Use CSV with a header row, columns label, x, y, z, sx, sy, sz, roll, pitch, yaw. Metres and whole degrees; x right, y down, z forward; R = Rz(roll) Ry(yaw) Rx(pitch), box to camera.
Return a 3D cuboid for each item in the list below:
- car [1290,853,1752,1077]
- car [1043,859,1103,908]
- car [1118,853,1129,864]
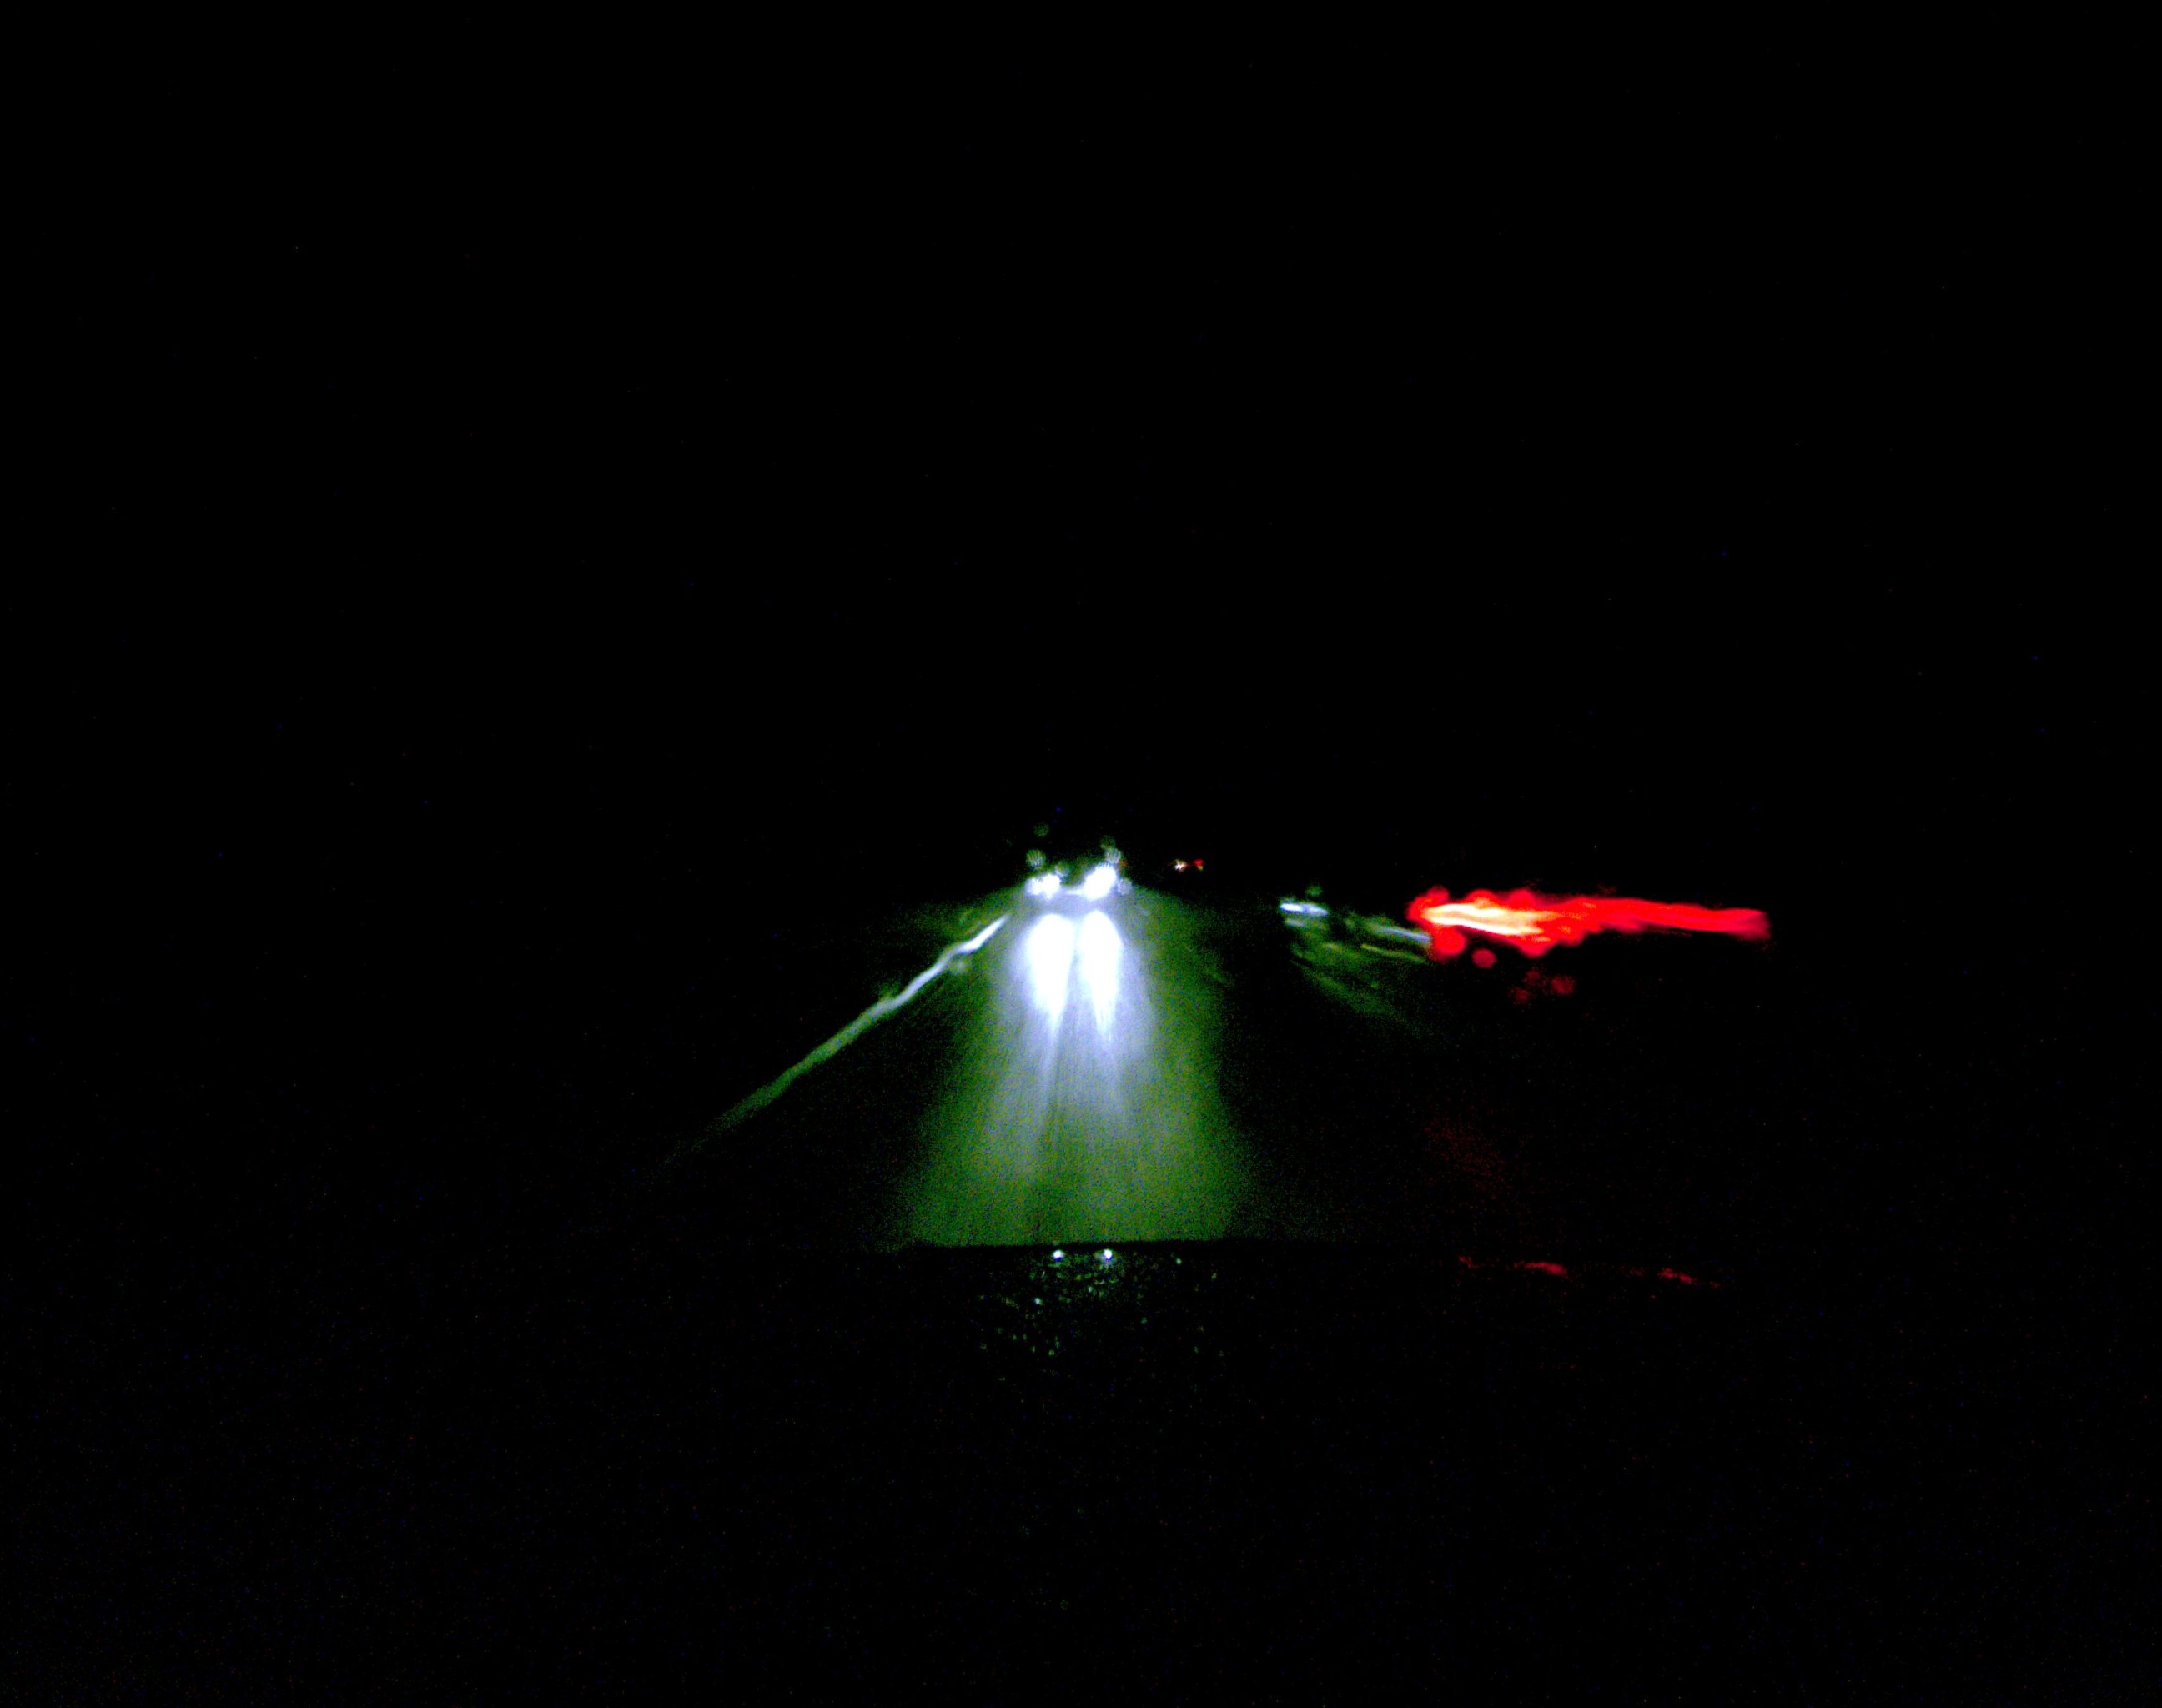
label,x,y,z,sx,sy,sz,roll,pitch,yaw
car,3.611,0.760,7.376,1.980,1.507,4.347,-1,0,0
car,-0.207,0.964,26.106,1.744,1.501,3.601,-3,0,3
car,7.855,0.884,140.944,1.840,1.833,4.001,1,-1,1
